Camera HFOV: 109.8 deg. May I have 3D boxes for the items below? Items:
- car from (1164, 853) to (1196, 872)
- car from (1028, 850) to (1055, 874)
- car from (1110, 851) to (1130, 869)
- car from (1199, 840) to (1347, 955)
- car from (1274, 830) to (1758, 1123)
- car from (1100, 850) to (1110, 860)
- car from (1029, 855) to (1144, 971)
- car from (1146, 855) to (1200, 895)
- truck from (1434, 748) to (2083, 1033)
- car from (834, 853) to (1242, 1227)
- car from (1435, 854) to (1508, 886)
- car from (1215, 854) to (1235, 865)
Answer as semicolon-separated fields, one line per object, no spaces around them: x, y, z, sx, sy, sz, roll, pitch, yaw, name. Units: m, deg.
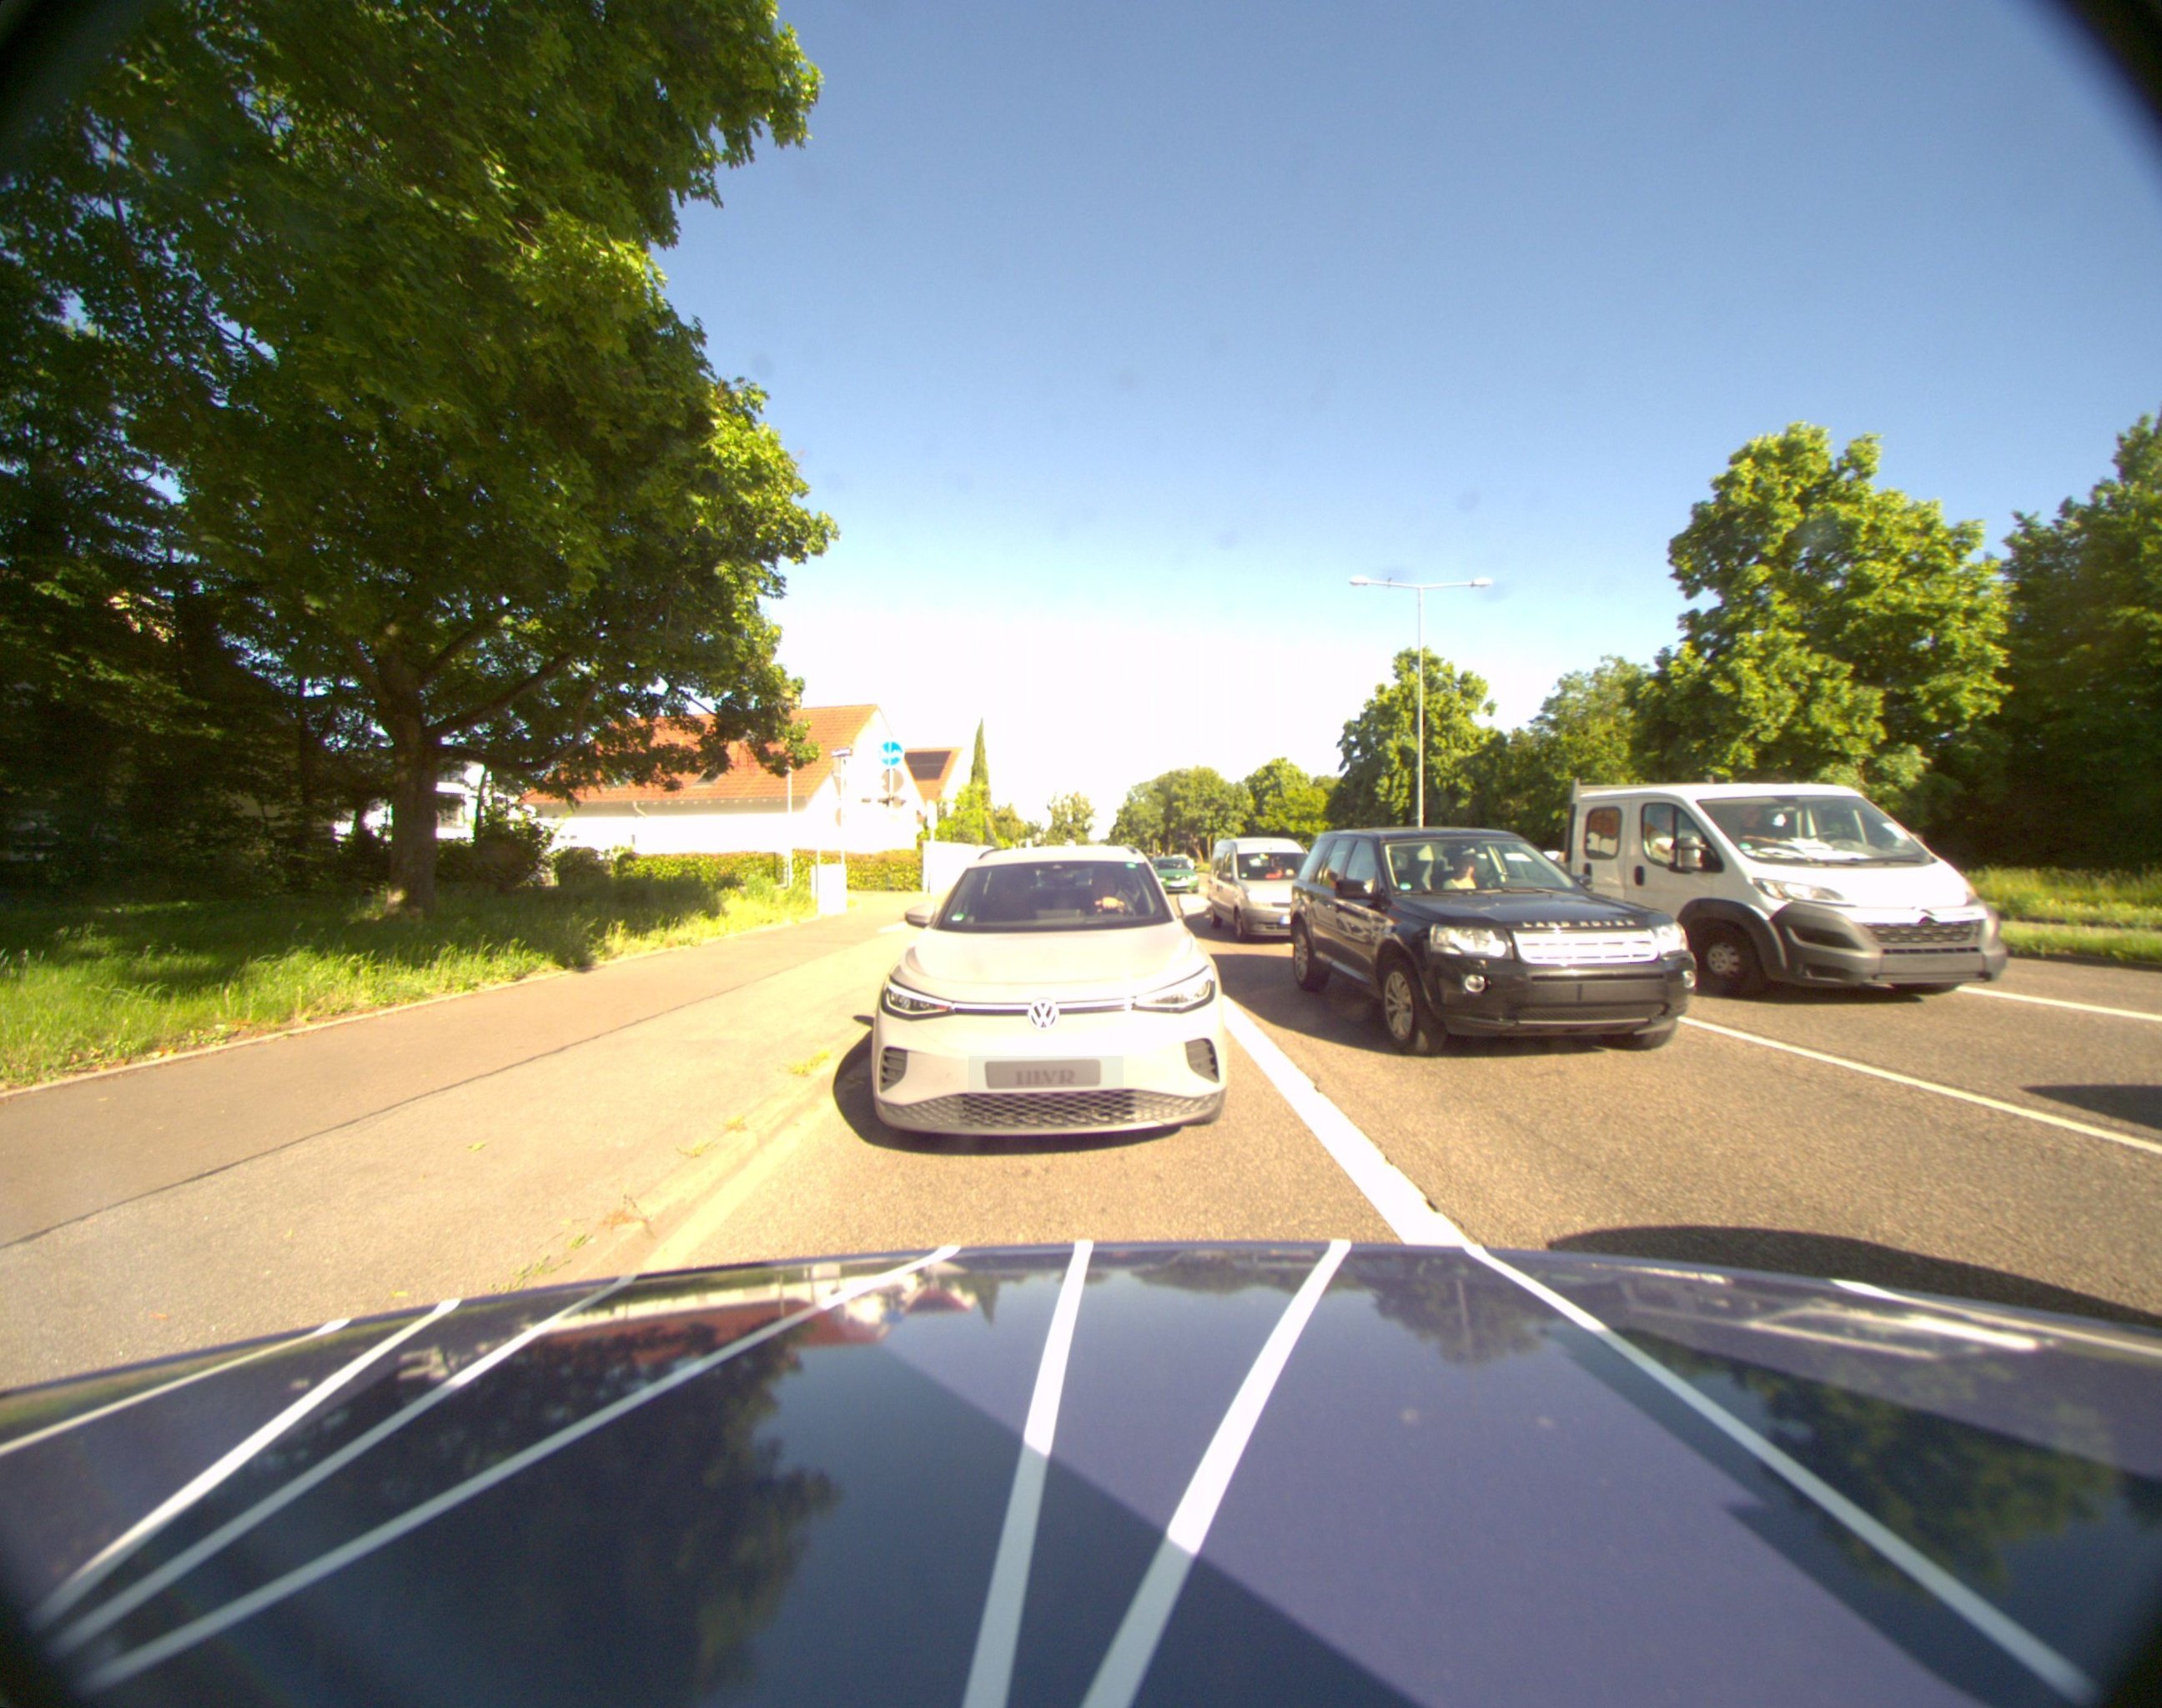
7.624;0.615;58.858;1.727;1.436;3.999;0;0;-3;car
-2.681;0.531;52.337;1.630;1.523;3.931;-1;0;0;car
3.555;0.571;70.281;1.726;1.630;4.000;0;0;1;car
3.323;0.651;13.967;1.632;1.741;4.386;-2;1;1;car
3.164;0.714;6.745;1.816;1.721;4.386;-2;1;1;car
4.329;0.158;135.312;1.726;1.630;4.000;0;0;1;car
0.107;0.863;13.021;1.632;1.586;4.024;-2;1;1;car
3.572;0.779;30.002;1.630;1.466;3.931;-1;0;0;car
7.211;0.268;9.718;2.185;2.307;6.842;-2;1;0;truck
-0.171;0.848;5.577;1.858;1.679;4.206;0;1;1;car
19.788;0.775;38.703;1.690;1.500;4.003;0;0;1;car
19.963;0.741;105.236;1.893;1.515;4.504;0;0;0;car
